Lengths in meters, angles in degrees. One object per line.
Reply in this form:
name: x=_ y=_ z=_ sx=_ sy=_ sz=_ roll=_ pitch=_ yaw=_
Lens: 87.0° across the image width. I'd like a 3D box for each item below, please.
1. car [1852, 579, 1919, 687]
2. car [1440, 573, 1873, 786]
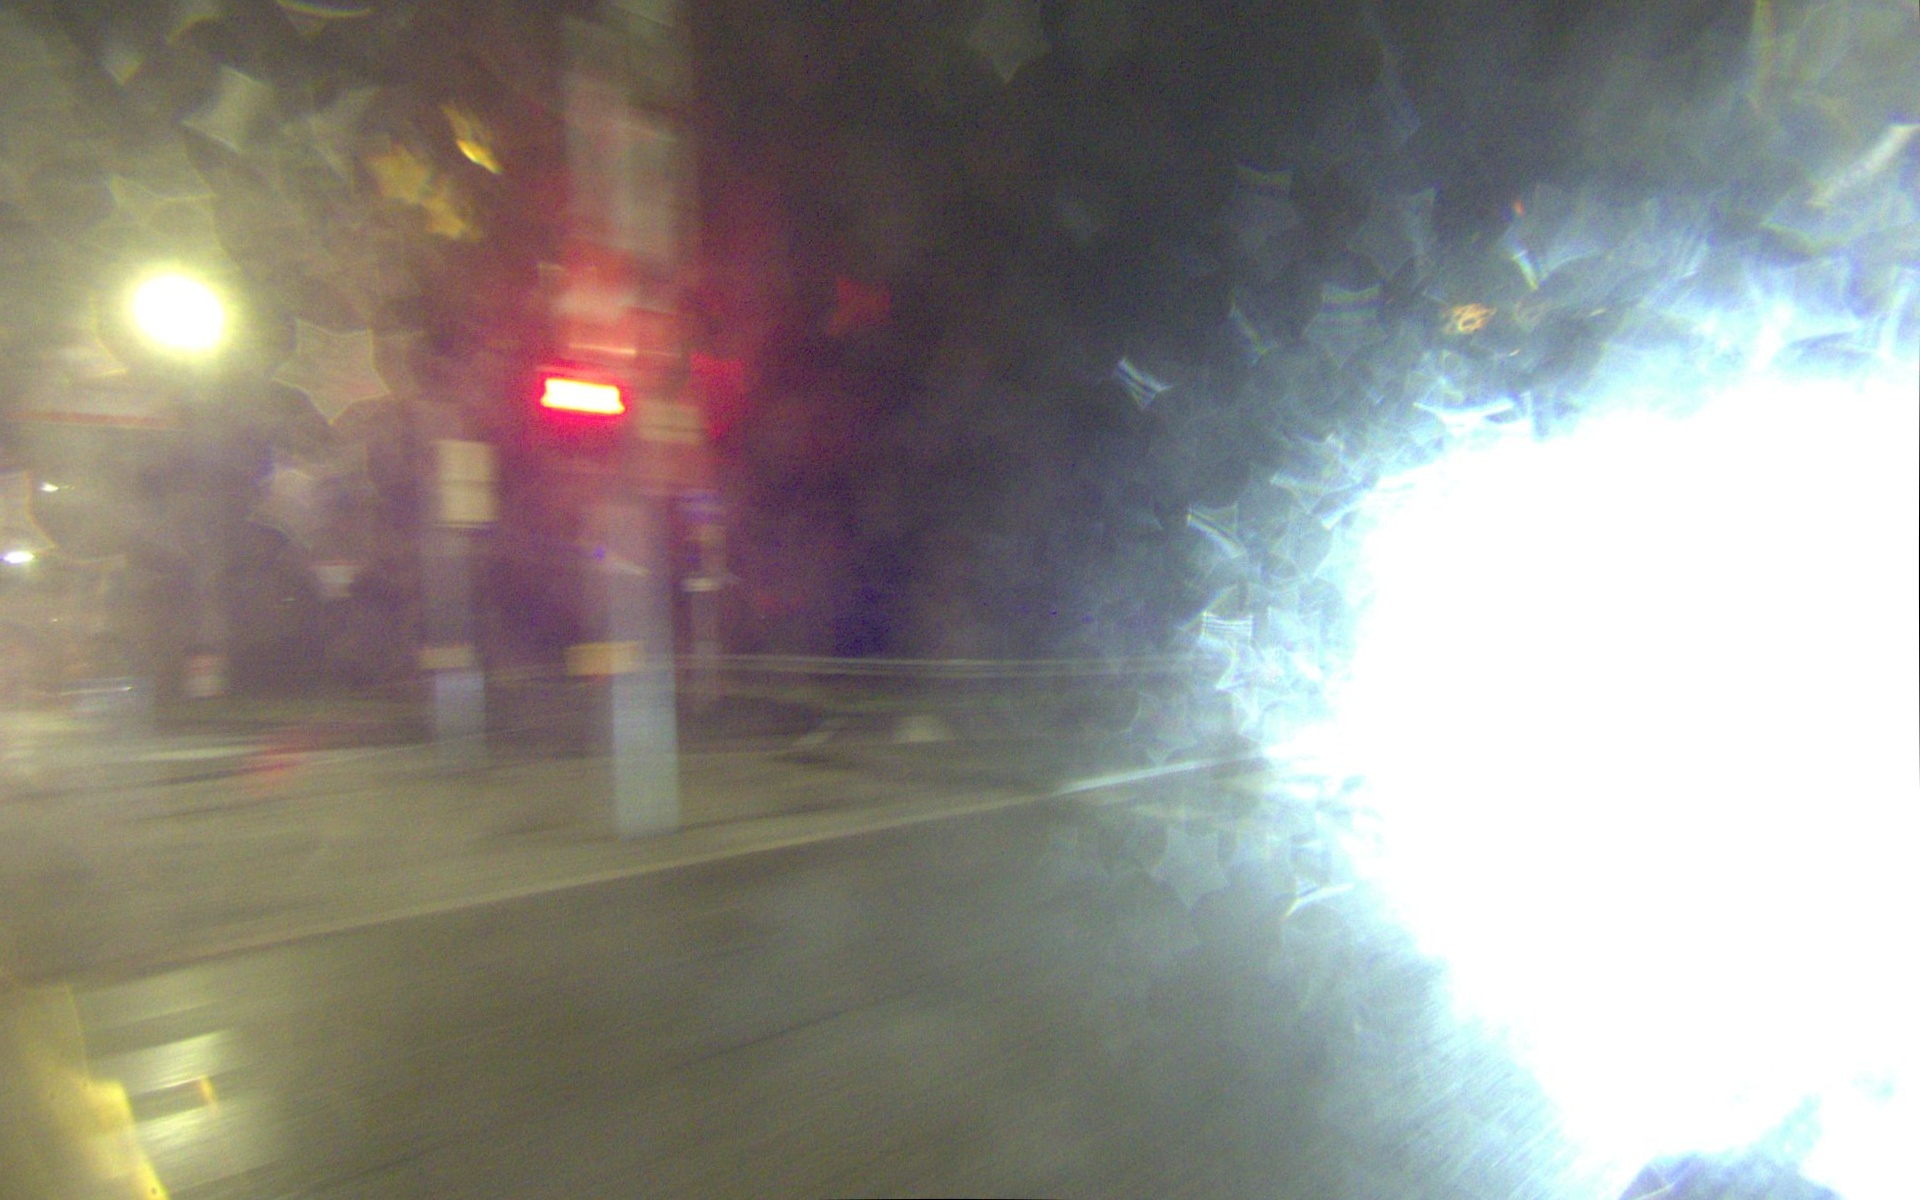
car: x=15.907 y=0.420 z=15.802 sx=4.328 sy=1.541 sz=1.713 roll=-2 pitch=-1 yaw=-31
car: x=6.462 y=0.582 z=9.228 sx=4.471 sy=1.526 sz=1.678 roll=0 pitch=-2 yaw=-34
